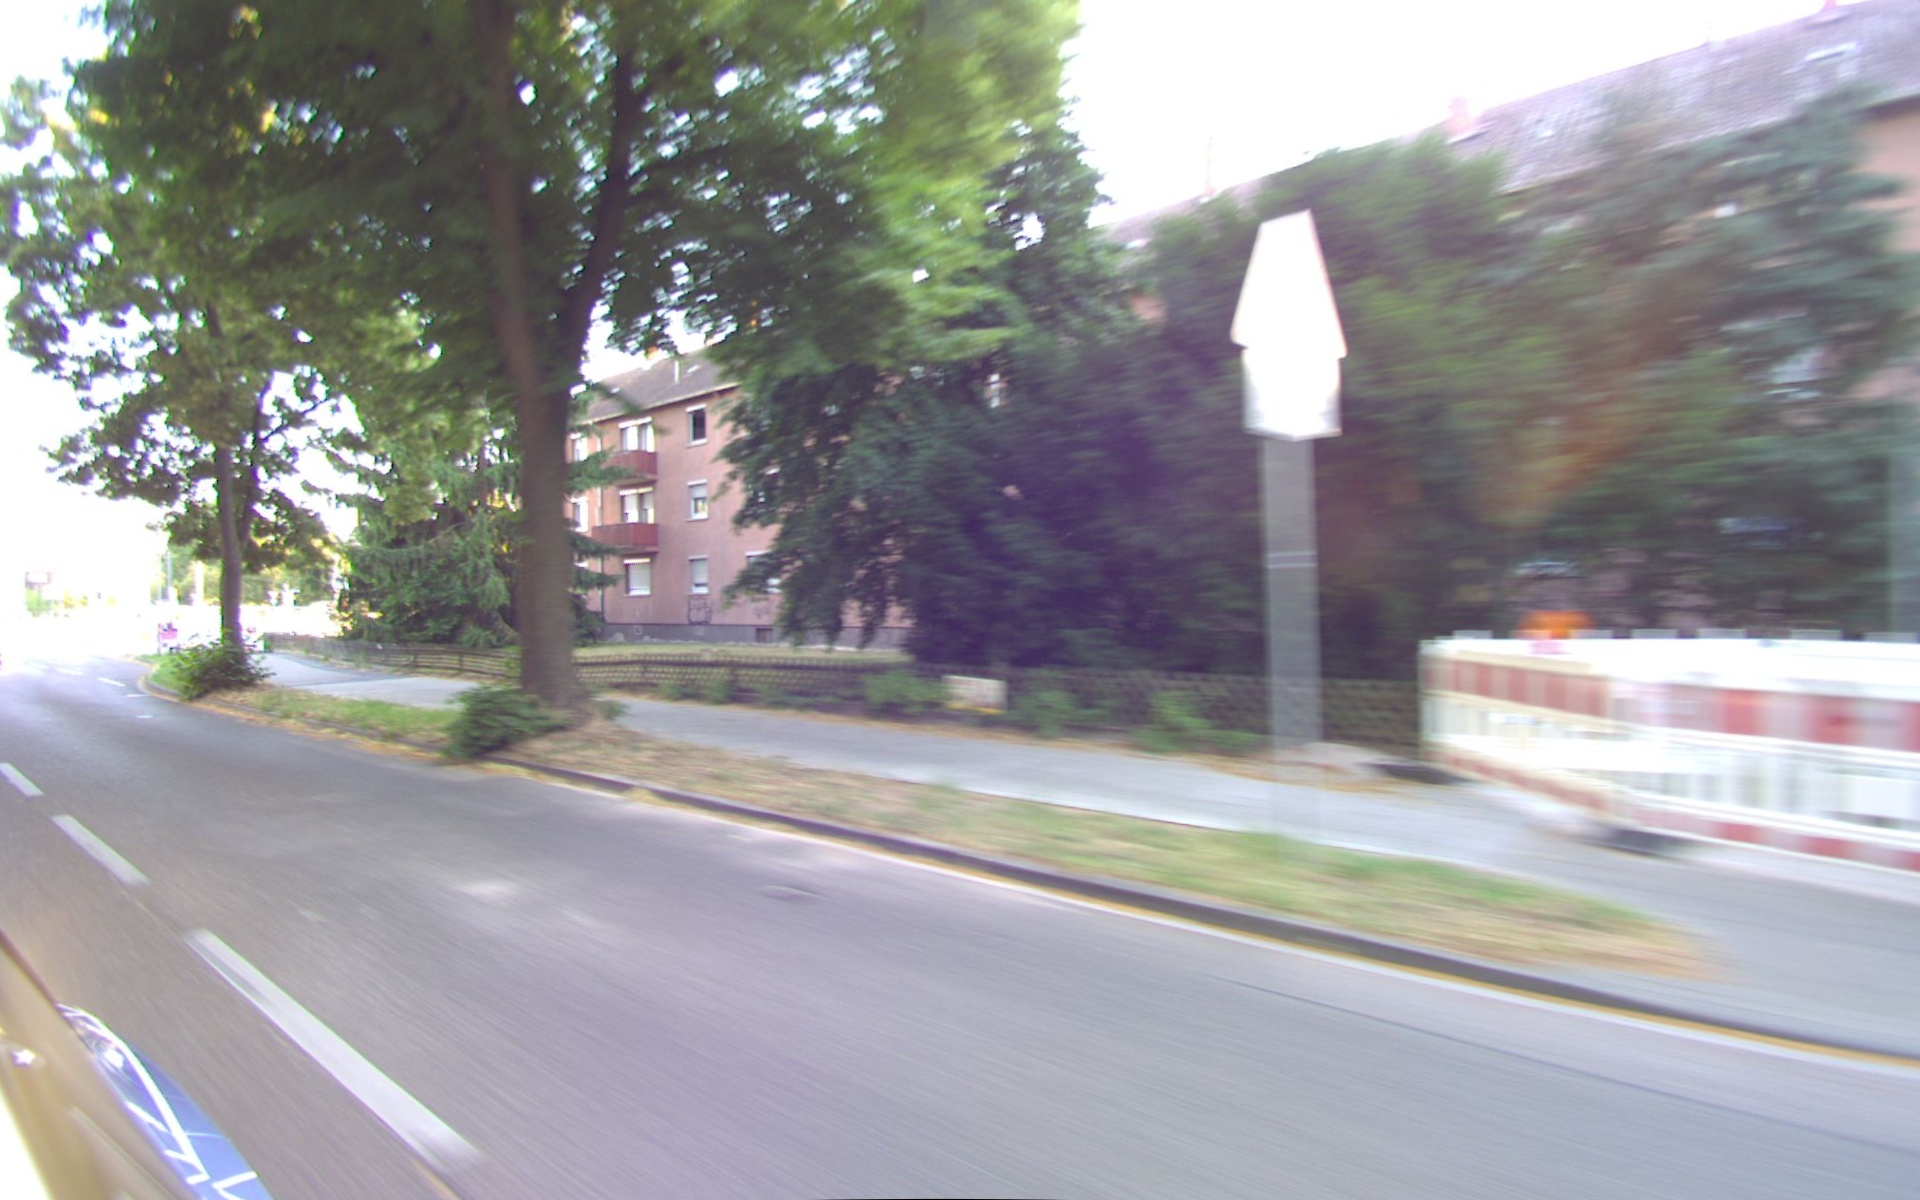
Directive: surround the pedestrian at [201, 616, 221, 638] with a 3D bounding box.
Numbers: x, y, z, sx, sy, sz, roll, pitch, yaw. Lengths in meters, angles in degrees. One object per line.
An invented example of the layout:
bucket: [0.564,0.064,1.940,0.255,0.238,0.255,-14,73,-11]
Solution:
pedestrian: [-56.888,2.040,76.877,0.784,1.708,0.917,-1,-2,30]
